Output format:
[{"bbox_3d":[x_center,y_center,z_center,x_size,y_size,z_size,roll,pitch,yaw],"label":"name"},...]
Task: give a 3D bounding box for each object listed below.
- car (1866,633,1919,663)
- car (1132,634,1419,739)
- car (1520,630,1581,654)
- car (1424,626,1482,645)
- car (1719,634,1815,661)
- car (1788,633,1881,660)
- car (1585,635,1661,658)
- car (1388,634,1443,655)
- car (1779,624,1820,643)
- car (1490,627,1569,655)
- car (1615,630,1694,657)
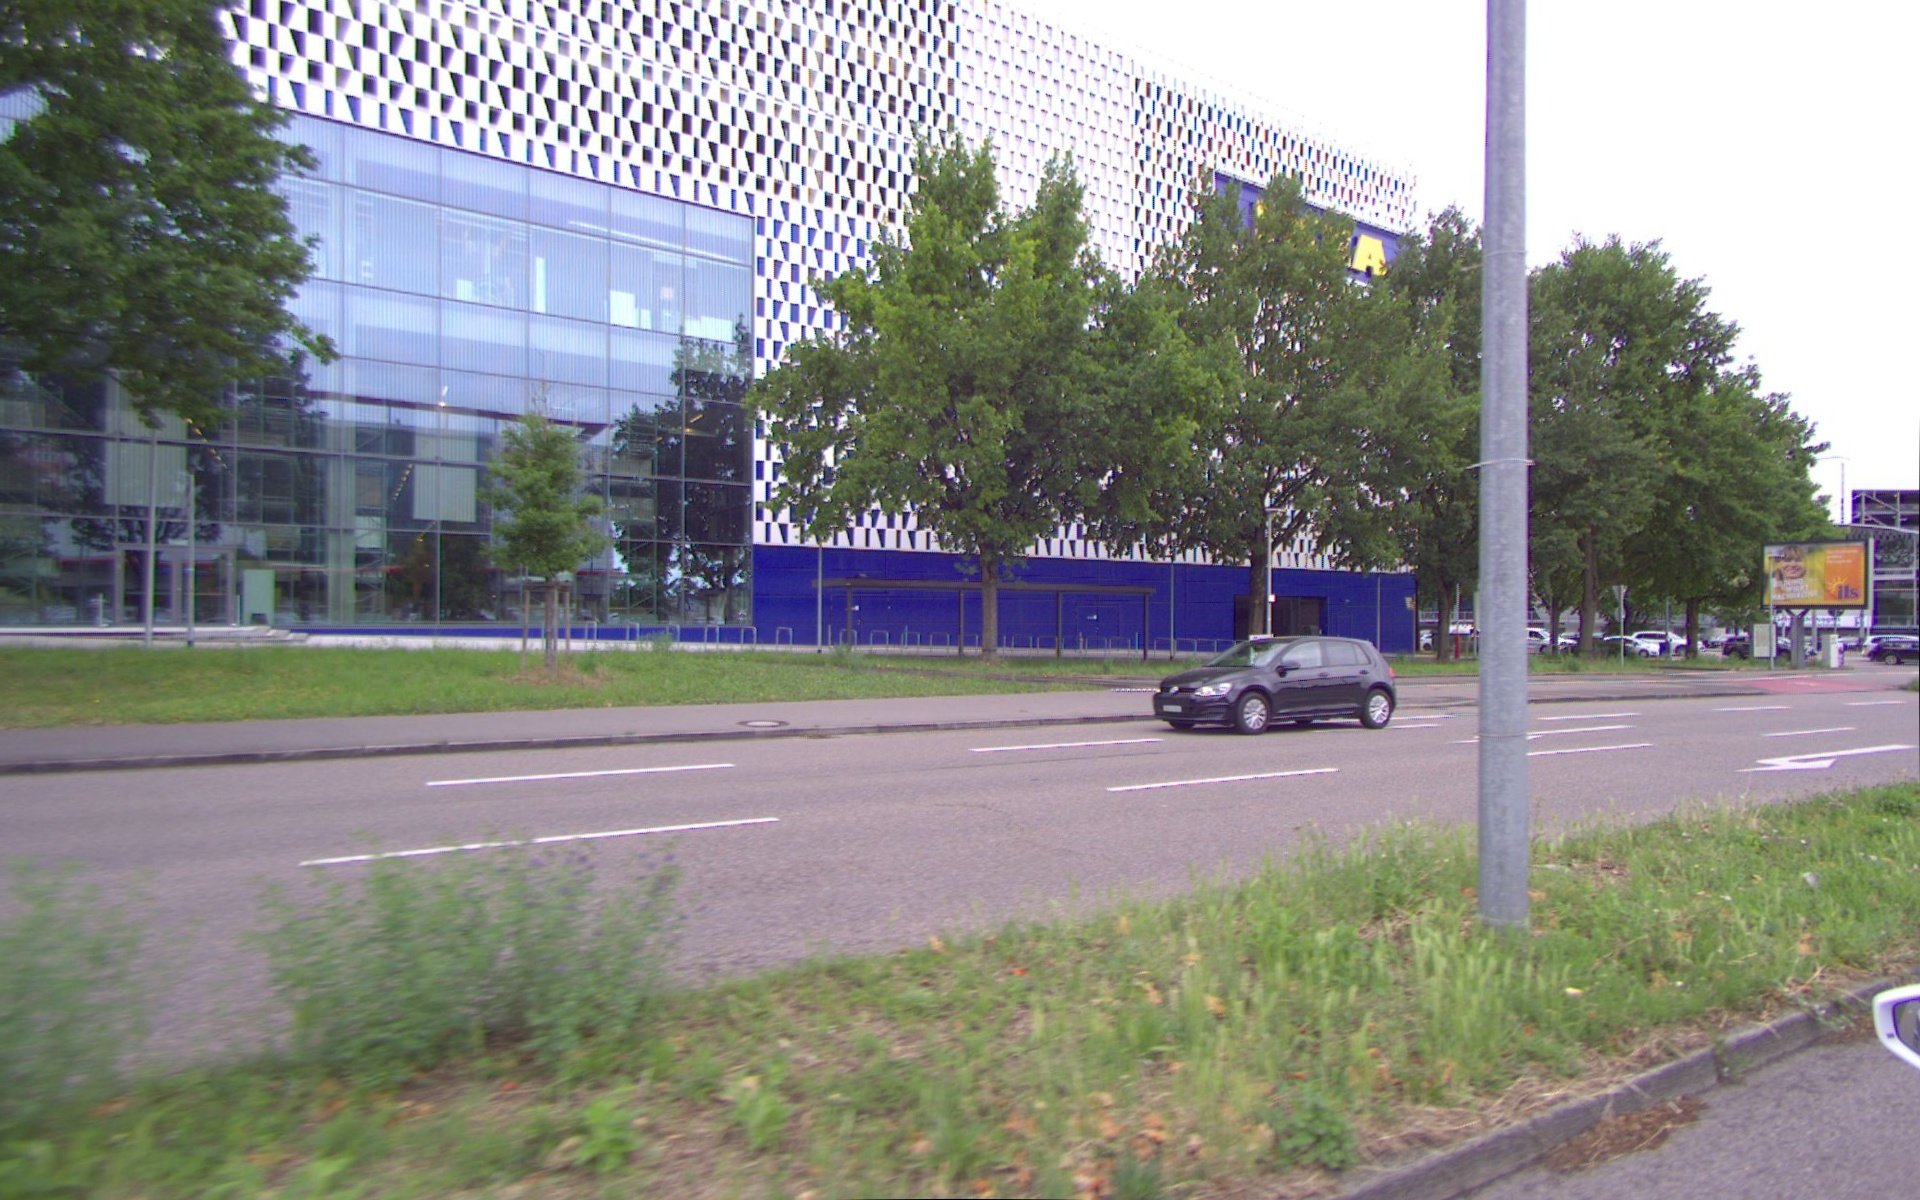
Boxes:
[{"bbox_3d":[56.852,2.882,59.539,1.980,1.682,4.387,1,-1,-35],"label":"car"},{"bbox_3d":[4.984,1.319,15.899,4.125,1.474,1.926,1,-4,-25],"label":"car"},{"bbox_3d":[47.473,3.330,80.815,1.858,1.770,3.742,-1,0,-30],"label":"car"},{"bbox_3d":[43.154,3.069,88.025,1.972,1.524,4.204,0,-1,-32],"label":"car"},{"bbox_3d":[52.759,3.073,65.741,1.980,1.681,4.514,1,-2,-35],"label":"car"},{"bbox_3d":[56.870,3.002,65.397,1.980,1.529,4.220,-1,0,-35],"label":"car"},{"bbox_3d":[48.126,3.353,72.945,1.972,1.532,4.204,0,-1,-32],"label":"car"},{"bbox_3d":[39.651,3.852,87.513,1.827,1.690,4.096,-1,0,-32],"label":"car"},{"bbox_3d":[70.743,2.822,84.635,3.493,1.505,1.591,-1,0,-30],"label":"car"},{"bbox_3d":[44.702,3.179,78.970,1.859,1.990,5.103,-3,1,-32],"label":"car"},{"bbox_3d":[51.387,3.195,74.440,1.979,1.734,4.406,-3,1,-34],"label":"car"}]
